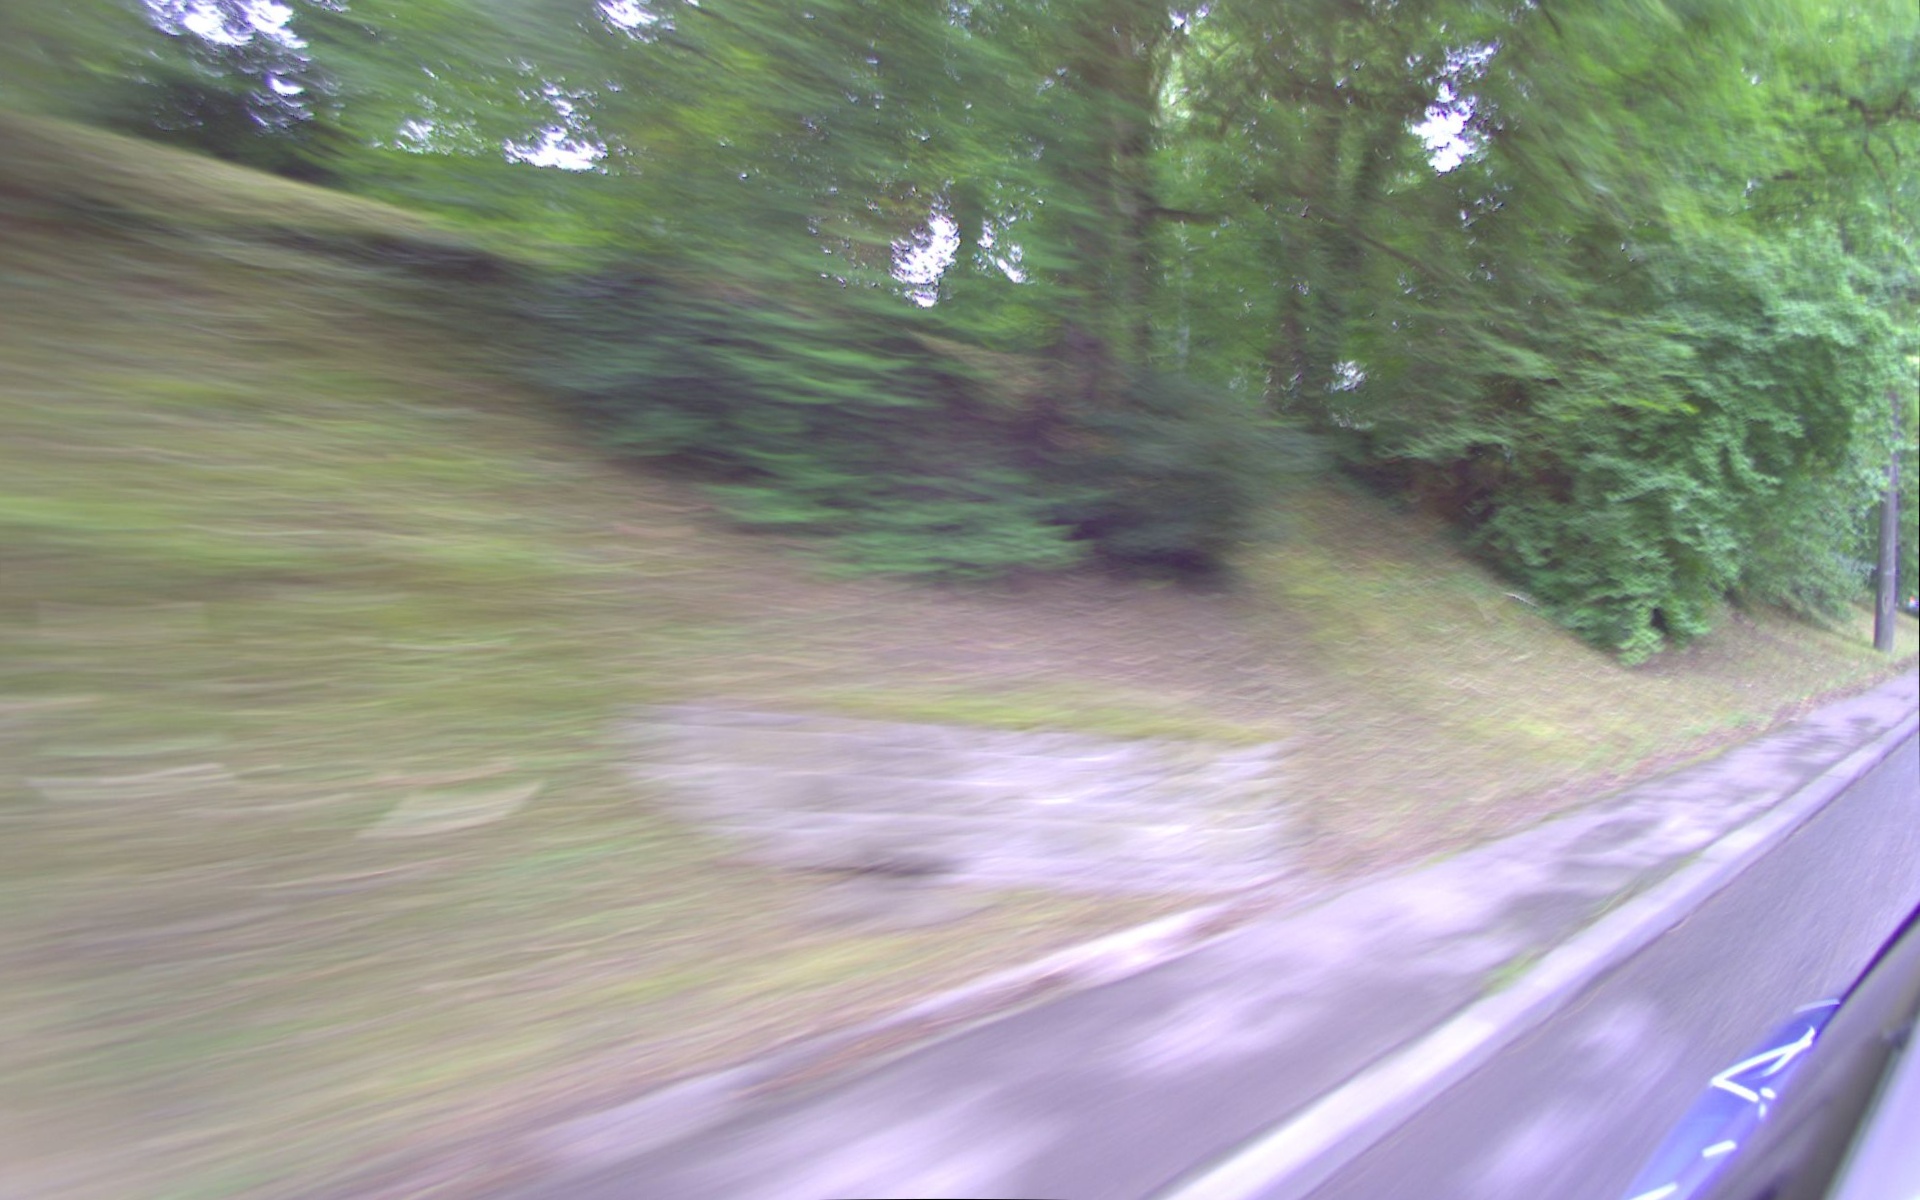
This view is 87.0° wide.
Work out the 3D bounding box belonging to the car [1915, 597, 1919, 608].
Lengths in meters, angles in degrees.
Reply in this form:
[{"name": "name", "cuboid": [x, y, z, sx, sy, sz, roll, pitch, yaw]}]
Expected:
[{"name": "car", "cuboid": [128.858, 0.338, 134.736, 1.988, 1.455, 3.948, 1, 1, 36]}]
